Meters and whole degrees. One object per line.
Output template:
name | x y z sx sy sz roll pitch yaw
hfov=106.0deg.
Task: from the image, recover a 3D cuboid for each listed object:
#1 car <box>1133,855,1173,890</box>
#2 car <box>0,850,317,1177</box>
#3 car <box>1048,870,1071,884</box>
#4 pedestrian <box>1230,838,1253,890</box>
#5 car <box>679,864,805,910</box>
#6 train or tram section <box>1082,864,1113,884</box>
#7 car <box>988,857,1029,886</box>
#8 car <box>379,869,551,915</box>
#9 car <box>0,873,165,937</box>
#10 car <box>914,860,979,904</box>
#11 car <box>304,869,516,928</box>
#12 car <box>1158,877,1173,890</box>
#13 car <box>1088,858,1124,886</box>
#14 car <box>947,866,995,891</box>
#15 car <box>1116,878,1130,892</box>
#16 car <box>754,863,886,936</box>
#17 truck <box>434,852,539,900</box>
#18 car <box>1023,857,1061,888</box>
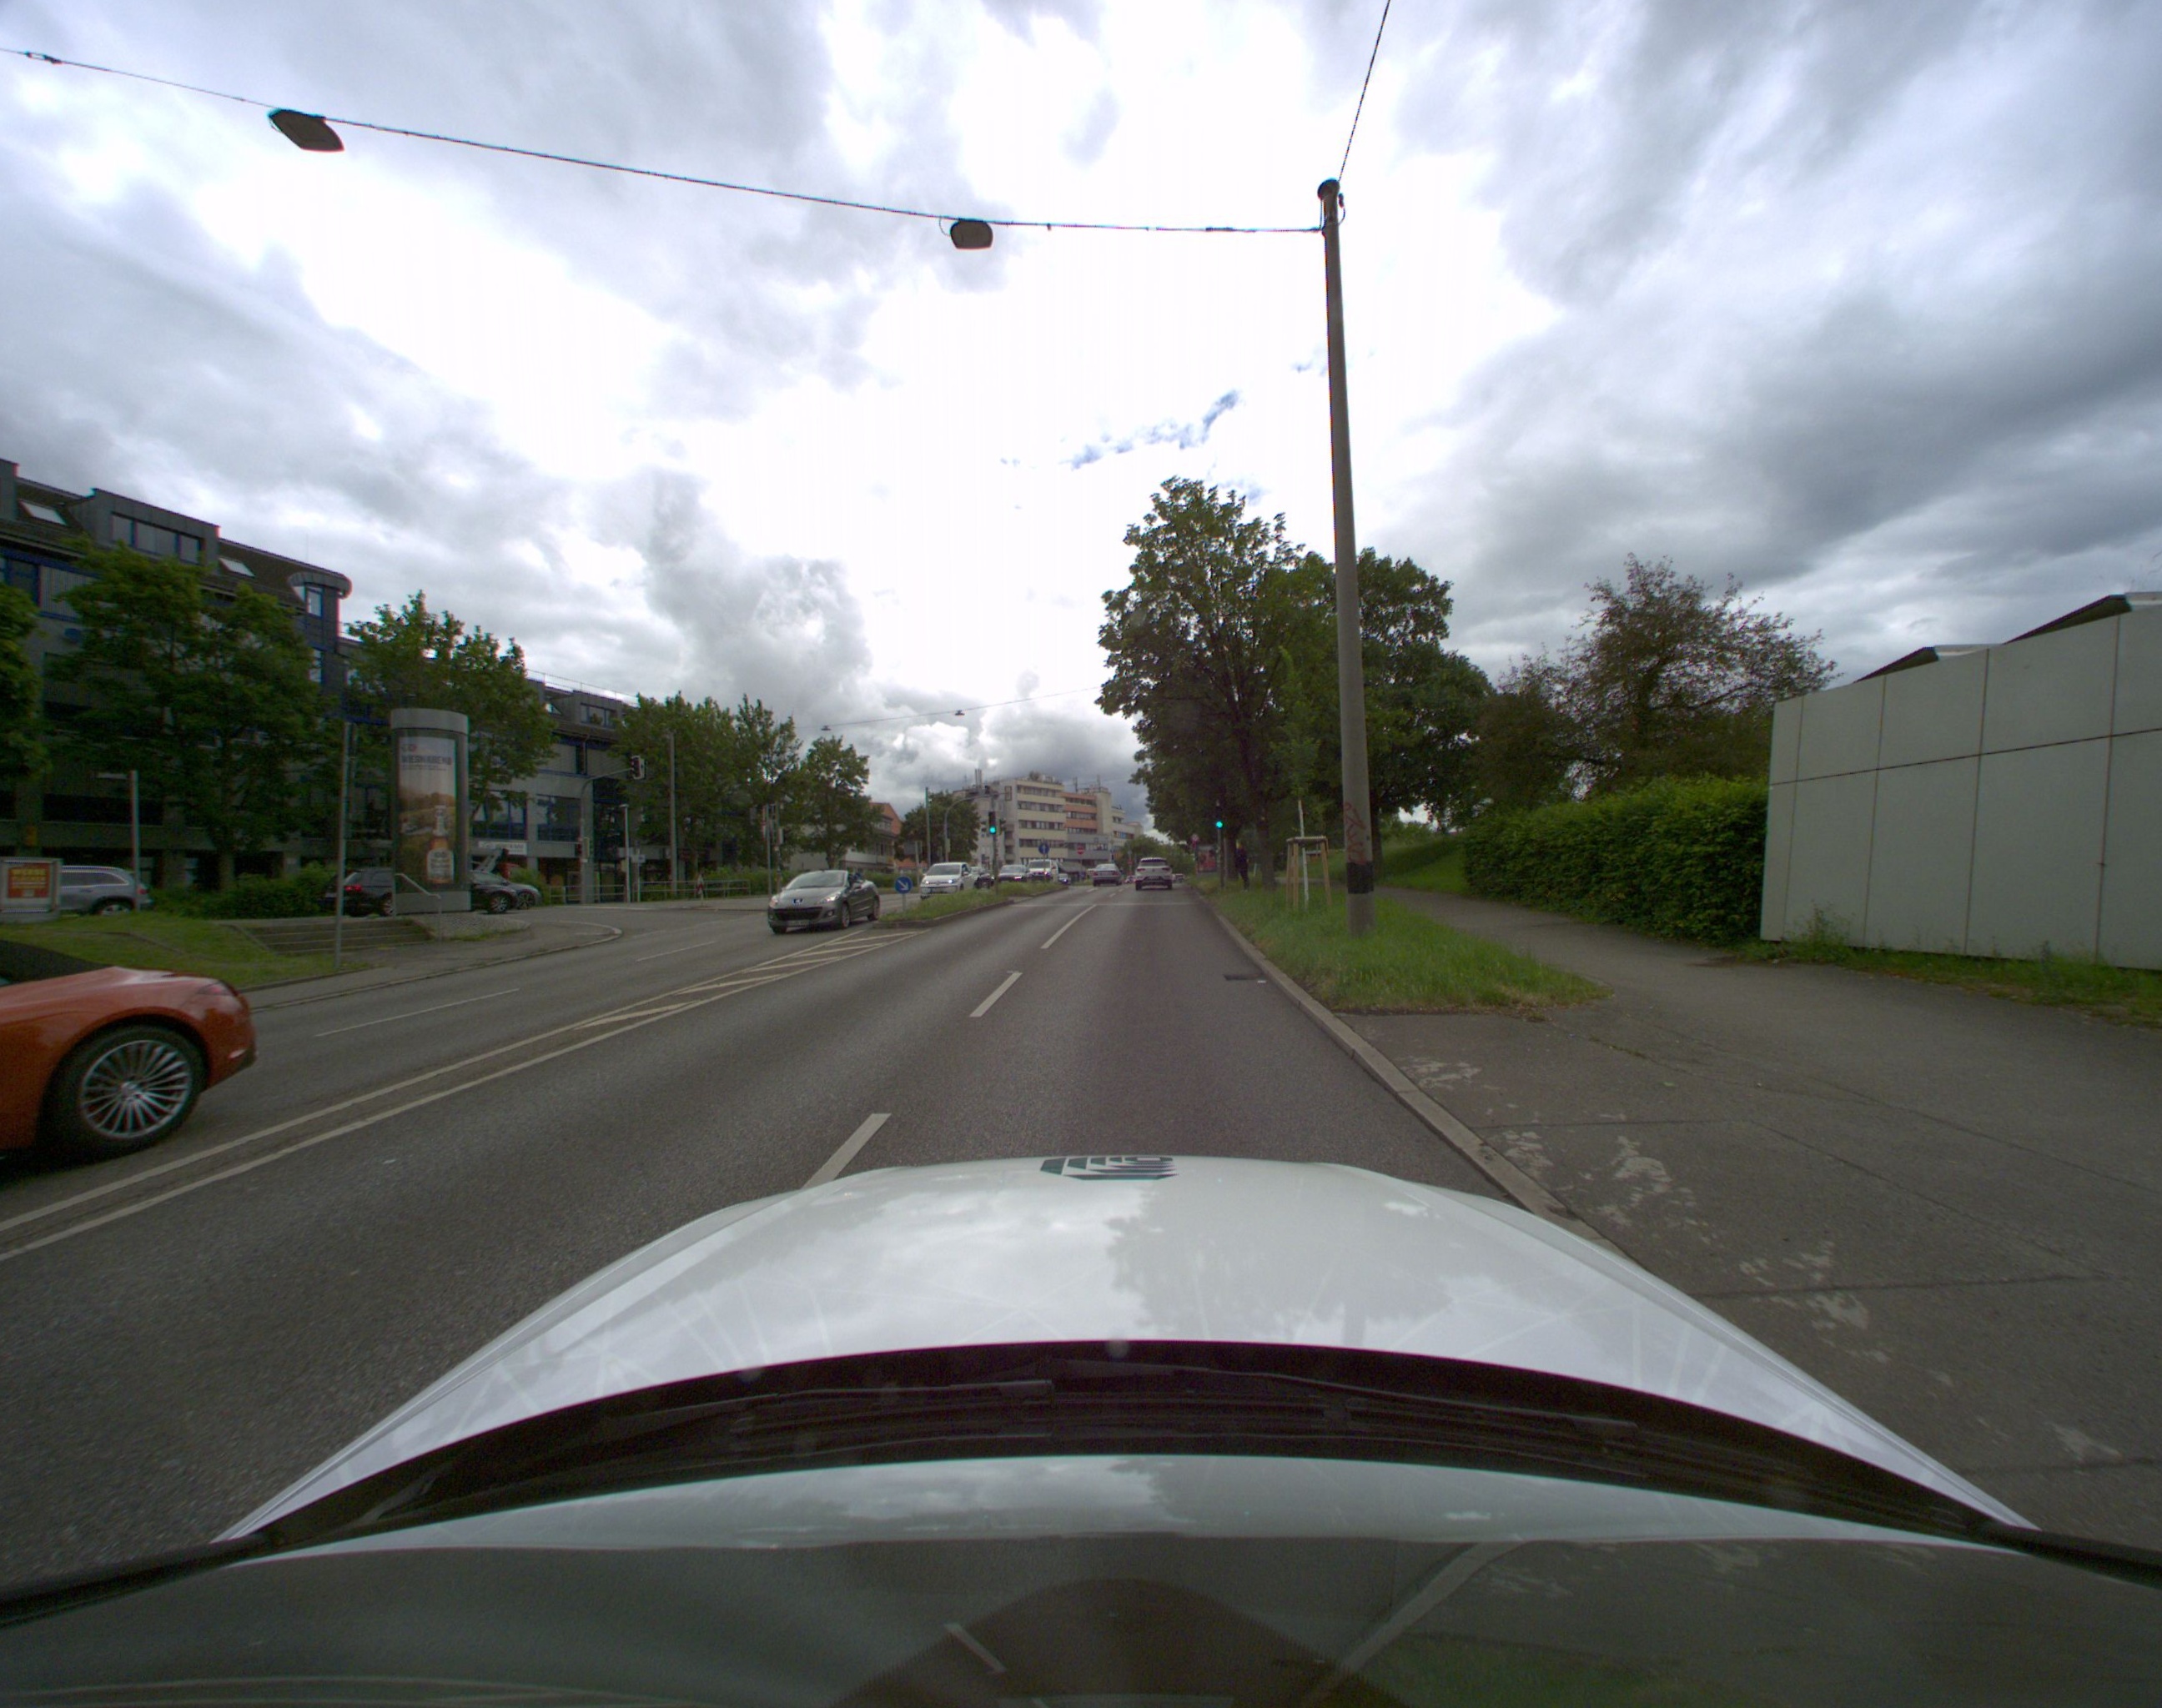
car | 3.577 0.859 40.102 1.690 1.548 3.745 1 1 9
car | -6.113 0.840 3.365 1.765 1.570 4.283 -5 0 -1
car | -2.334 2.487 89.477 1.852 1.428 4.007 -2 -1 6
pedestrian | 5.873 0.366 29.878 0.640 1.856 0.673 -2 0 0
car | -12.888 1.225 31.134 1.759 1.544 4.025 -2 -1 43
train or tram section | 3.040 3.664 146.706 2.541 3.411 13.129 -3 -3 14
car | -4.161 0.980 47.369 1.770 1.481 4.483 -3 0 2
car | -21.302 1.263 28.412 1.760 1.463 4.465 -1 -1 24
car | -27.217 1.314 20.903 1.658 1.463 4.594 -1 1 19
car | -5.363 1.083 32.962 1.770 1.565 4.002 -2 0 2
car | -19.482 1.227 23.907 1.760 1.463 4.466 -1 0 24
car | 11.524 3.999 110.672 1.763 1.570 4.289 -3 0 3
car | 1.607 1.103 51.663 1.689 1.516 3.747 -2 1 10
car | -6.739 1.468 50.189 1.773 1.379 3.961 -2 0 9
car | 7.300 5.347 140.912 1.983 2.013 4.844 -1 0 7
car | -6.245 1.026 19.999 1.770 1.481 3.982 -2 0 2
truck | -31.721 1.108 43.556 1.975 2.387 4.023 -1 0 25
car | -2.722 1.278 58.127 1.826 2.002 4.867 -2 0 7
